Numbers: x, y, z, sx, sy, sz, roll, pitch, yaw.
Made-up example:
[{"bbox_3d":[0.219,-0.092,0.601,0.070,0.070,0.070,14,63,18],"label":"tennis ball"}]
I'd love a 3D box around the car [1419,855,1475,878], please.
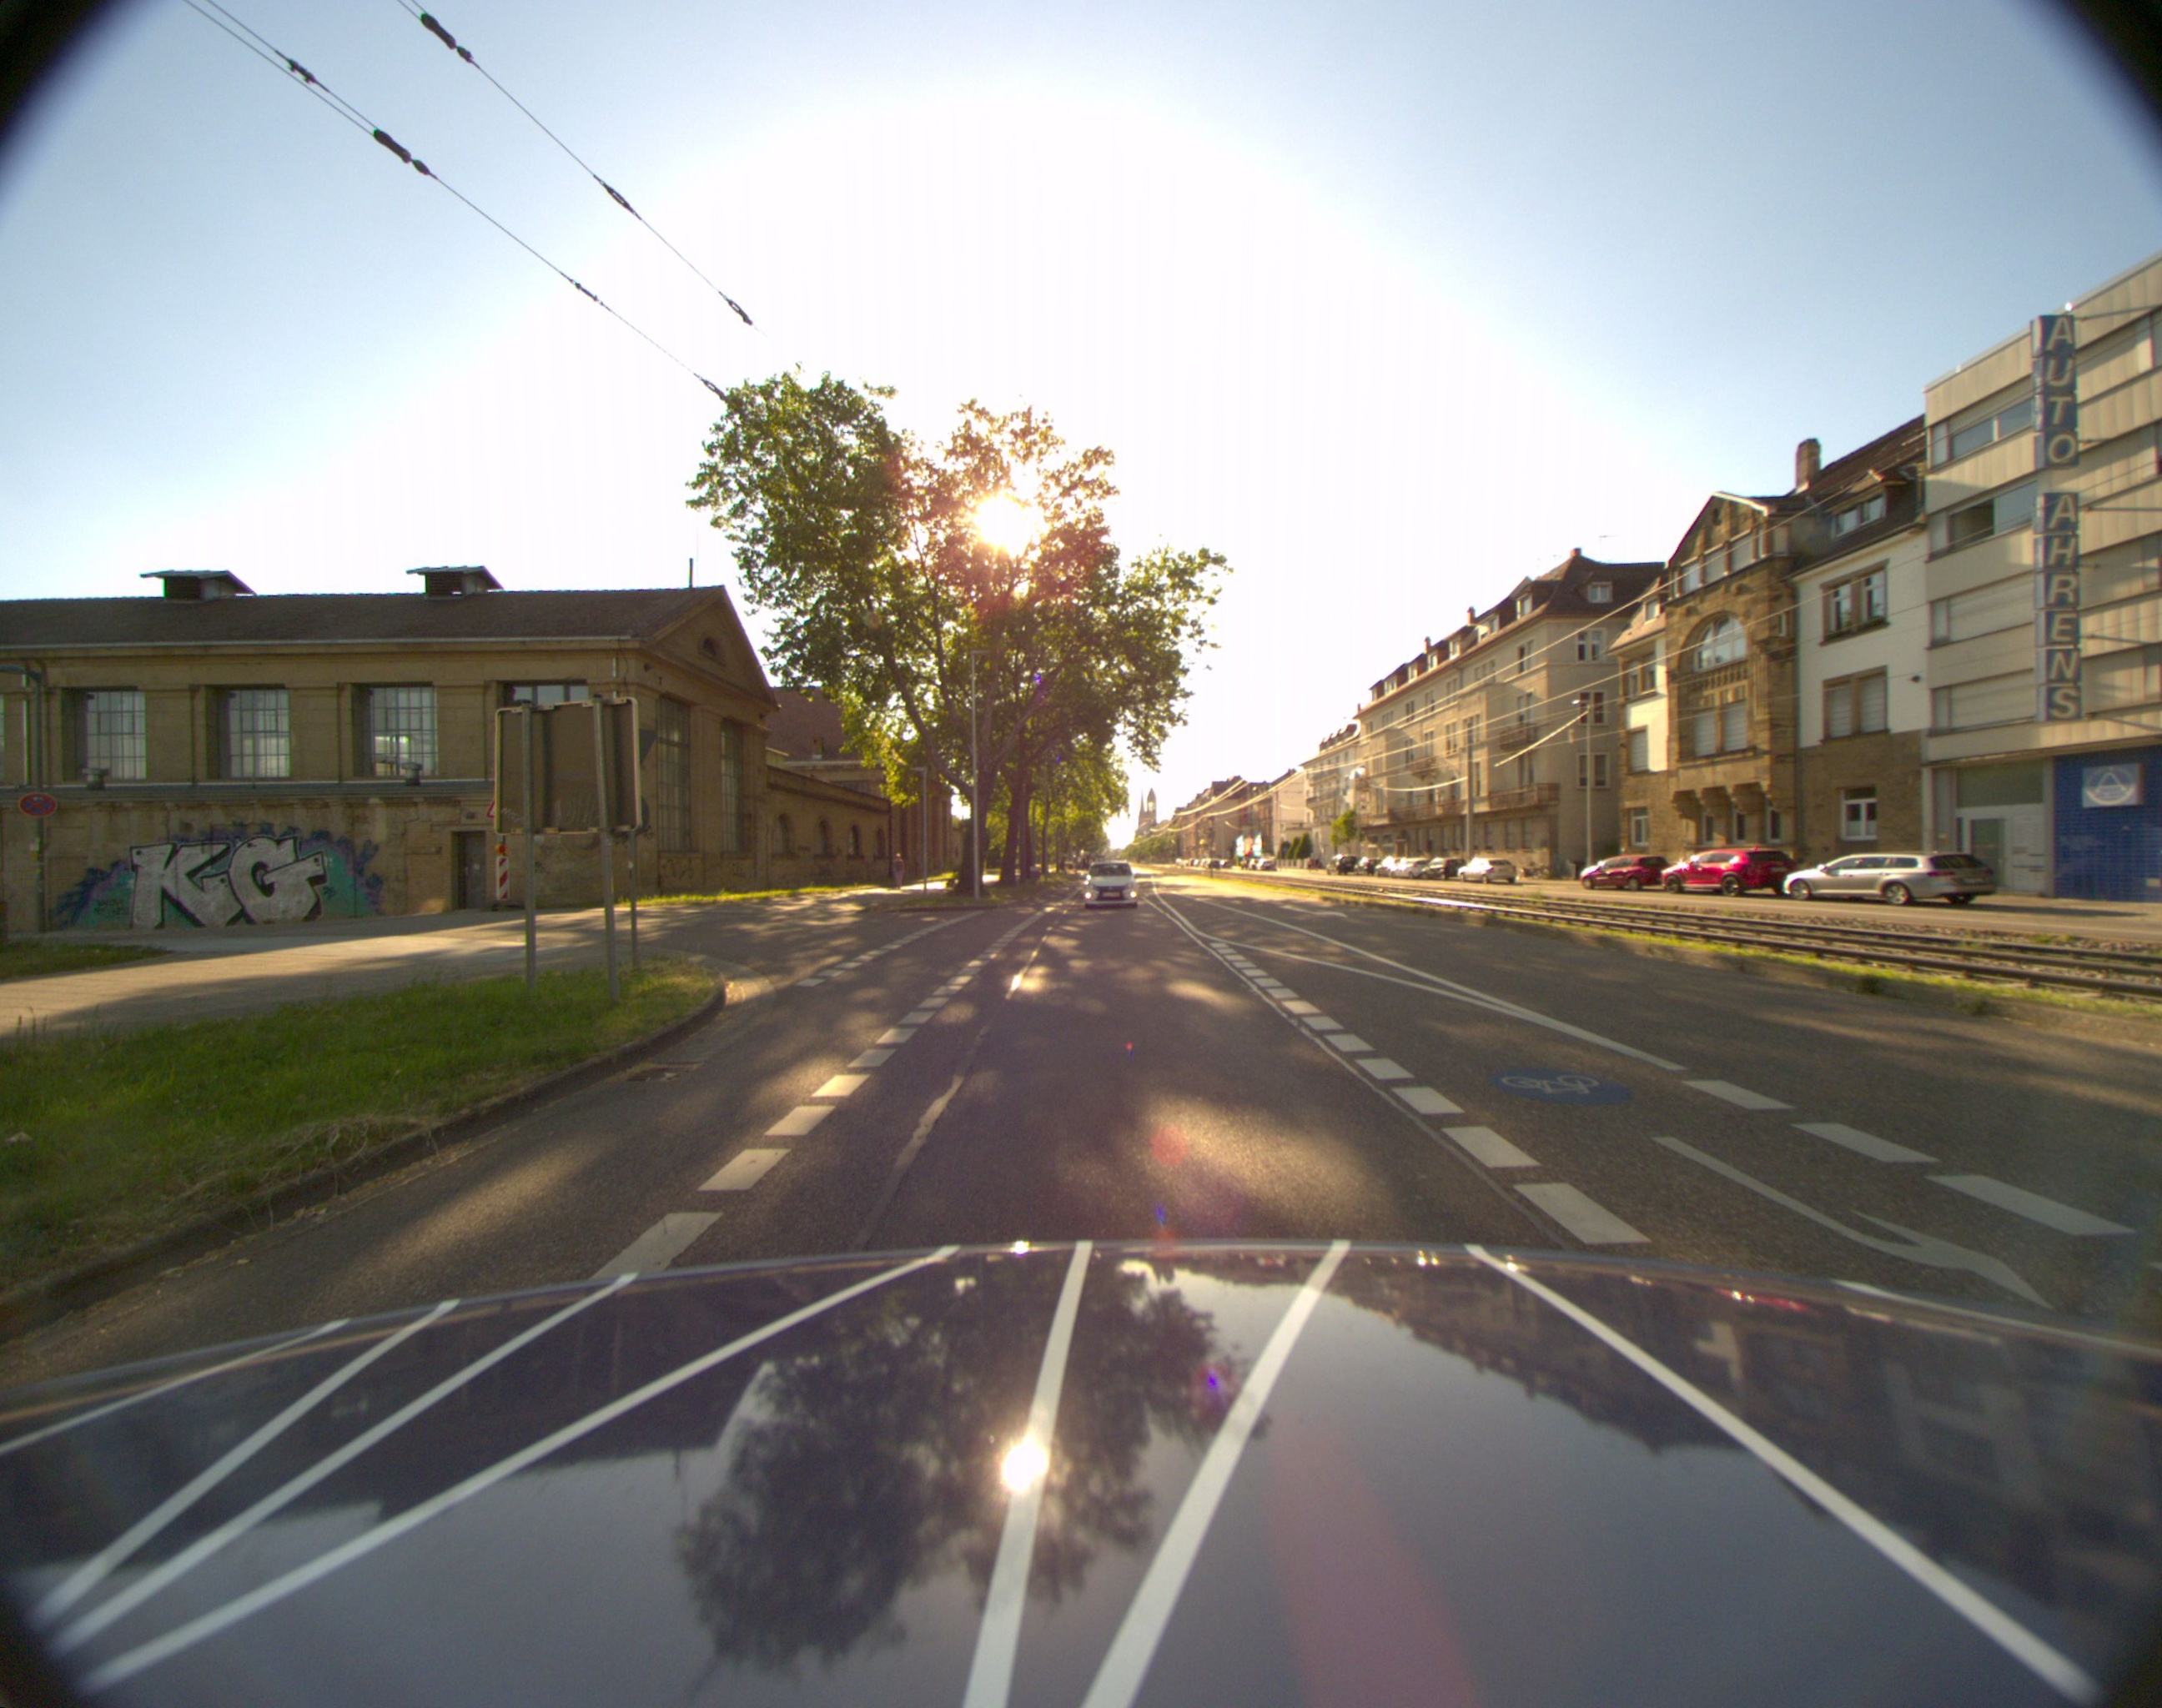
[{"bbox_3d":[23.906,0.805,49.791,1.802,1.422,3.823,-2,0,-1],"label":"car"}]

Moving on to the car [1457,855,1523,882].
[{"bbox_3d":[23.789,0.829,44.351,1.802,1.470,3.823,-2,0,2],"label":"car"}]

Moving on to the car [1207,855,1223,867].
[{"bbox_3d":[20.025,1.023,113.428,1.822,1.674,4.000,-1,0,2],"label":"car"}]

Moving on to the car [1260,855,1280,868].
[{"bbox_3d":[24.061,0.933,96.727,1.677,1.622,3.408,-2,0,2],"label":"car"}]

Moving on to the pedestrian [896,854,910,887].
[{"bbox_3d":[-9.050,0.813,38.595,0.673,1.652,0.873,0,0,-14],"label":"pedestrian"}]

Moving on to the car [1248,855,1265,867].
[{"bbox_3d":[24.752,0.924,107.214,1.684,1.562,3.388,-2,0,1],"label":"car"}]

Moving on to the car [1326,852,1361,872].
[{"bbox_3d":[24.216,0.749,70.151,1.875,1.726,3.916,-2,0,2],"label":"car"}]

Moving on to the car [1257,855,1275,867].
[{"bbox_3d":[24.821,0.932,101.959,1.684,1.562,3.388,-2,0,1],"label":"car"}]

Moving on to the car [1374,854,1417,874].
[{"bbox_3d":[24.245,0.771,58.778,1.802,1.470,3.823,-2,0,2],"label":"car"}]

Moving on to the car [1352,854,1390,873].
[{"bbox_3d":[24.647,0.810,64.670,1.802,1.470,3.823,-2,0,2],"label":"car"}]

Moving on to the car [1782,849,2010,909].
[{"bbox_3d":[23.271,0.669,21.992,1.861,1.490,4.382,-3,0,0],"label":"car"}]

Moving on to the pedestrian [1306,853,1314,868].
[{"bbox_3d":[26.965,0.807,89.508,0.725,1.779,0.678,0,0,1],"label":"pedestrian"}]

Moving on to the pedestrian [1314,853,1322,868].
[{"bbox_3d":[27.831,0.776,89.268,0.725,1.779,0.678,0,0,1],"label":"pedestrian"}]

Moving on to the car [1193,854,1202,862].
[{"bbox_3d":[26.399,0.870,172.174,1.624,1.581,3.450,-2,0,1],"label":"car"}]

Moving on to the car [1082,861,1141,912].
[{"bbox_3d":[0.949,0.978,24.508,1.686,1.462,4.056,-2,0,1],"label":"car"}]

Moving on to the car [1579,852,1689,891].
[{"bbox_3d":[23.485,0.719,32.460,1.756,1.487,3.729,-3,0,-5],"label":"car"}]

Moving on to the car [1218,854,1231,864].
[{"bbox_3d":[25.033,0.899,132.831,1.624,1.581,3.450,-2,0,1],"label":"car"}]

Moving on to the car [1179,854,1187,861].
[{"bbox_3d":[26.113,0.934,195.287,1.624,1.581,3.450,-2,0,1],"label":"car"}]

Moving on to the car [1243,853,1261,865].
[{"bbox_3d":[25.298,0.738,112.624,1.727,1.776,3.881,-2,0,1],"label":"car"}]

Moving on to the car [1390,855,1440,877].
[{"bbox_3d":[23.625,0.833,53.834,1.642,1.438,3.538,-2,0,-6],"label":"car"}]

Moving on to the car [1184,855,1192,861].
[{"bbox_3d":[25.965,0.952,184.692,1.624,1.581,3.450,-2,0,1],"label":"car"}]

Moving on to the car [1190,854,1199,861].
[{"bbox_3d":[26.474,0.860,176.987,1.624,1.581,3.450,-2,0,1],"label":"car"}]

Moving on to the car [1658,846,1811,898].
[{"bbox_3d":[23.306,0.607,27.347,1.860,1.677,4.264,-3,0,2],"label":"car"}]

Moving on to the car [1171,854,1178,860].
[{"bbox_3d":[27.440,0.854,222.085,1.624,1.581,3.450,-2,0,1],"label":"car"}]
